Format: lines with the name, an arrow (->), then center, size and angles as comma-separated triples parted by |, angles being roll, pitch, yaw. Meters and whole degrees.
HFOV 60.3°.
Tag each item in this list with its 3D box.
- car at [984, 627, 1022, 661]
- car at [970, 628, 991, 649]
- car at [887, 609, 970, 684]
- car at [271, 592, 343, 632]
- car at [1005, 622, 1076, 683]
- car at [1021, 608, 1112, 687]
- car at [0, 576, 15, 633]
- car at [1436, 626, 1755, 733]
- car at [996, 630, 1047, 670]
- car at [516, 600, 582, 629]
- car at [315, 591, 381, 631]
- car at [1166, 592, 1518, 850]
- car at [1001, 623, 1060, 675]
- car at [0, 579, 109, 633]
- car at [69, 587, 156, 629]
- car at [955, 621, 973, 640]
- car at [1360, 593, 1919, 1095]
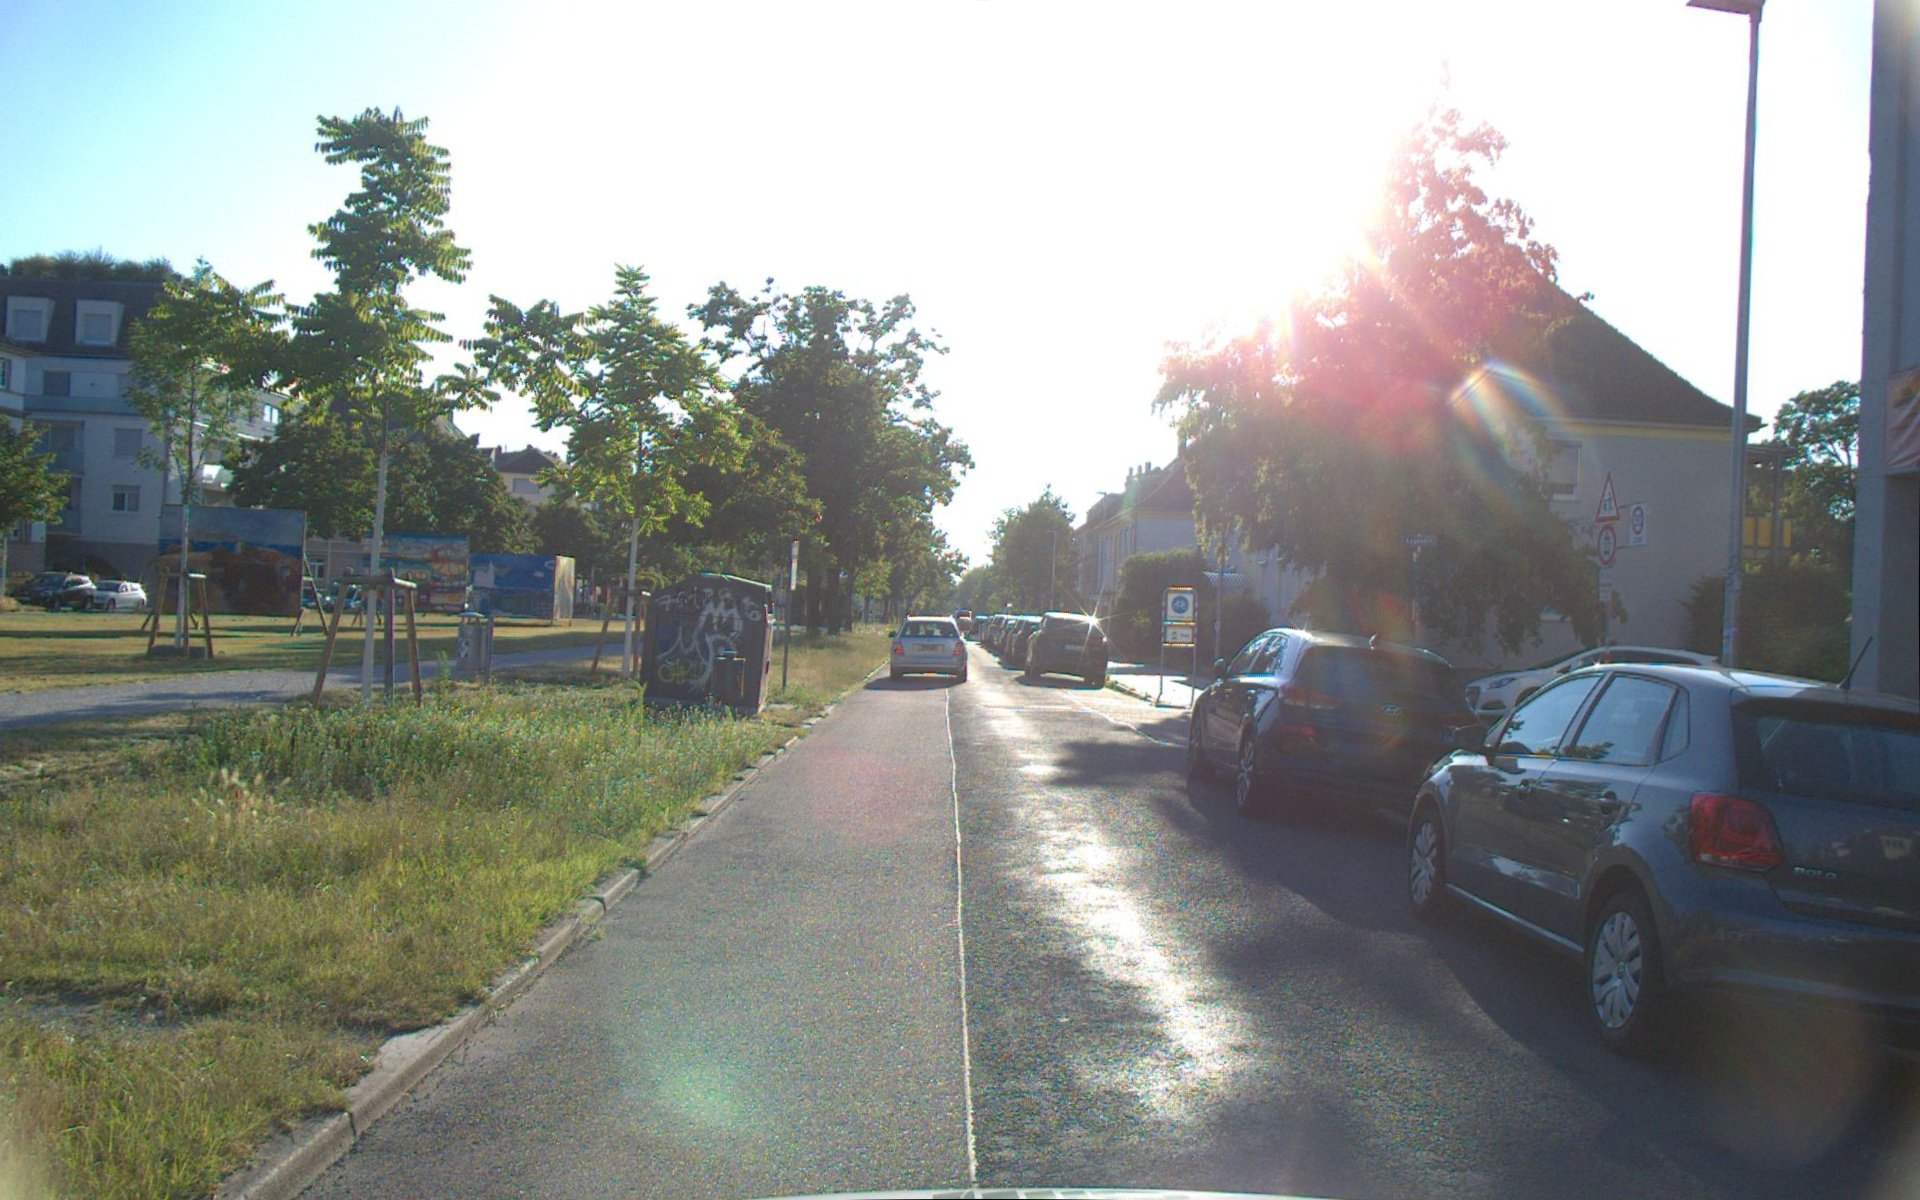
car -> 2.207, 2.304, 86.752 | 1.741, 1.672, 4.755 | 2, -2, -1
car -> 1.696, 3.299, 140.823 | 1.686, 1.625, 3.999 | 2, -2, 0
car -> -0.683, 1.049, 38.024 | 1.786, 1.594, 3.999 | 1, -1, 0
car -> -33.864, 0.653, 85.892 | 1.889, 1.860, 4.690 | -1, -2, 0
car -> 2.598, 1.683, 54.432 | 1.894, 1.750, 4.620 | 5, -1, -1
car -> 2.679, 1.226, 42.652 | 1.796, 1.762, 5.030 | 5, -2, -1
car -> -33.786, 0.117, 55.166 | 1.796, 1.933, 4.642 | -1, -2, 0
car -> 10.940, 1.416, 28.679 | 4.749, 1.512, 2.001 | 3, -5, -1
car -> 2.586, 2.093, 70.304 | 1.953, 1.488, 4.561 | 4, -1, 1
car -> -42.626, 1.520, 171.598 | 6.231, 2.768, 1.982 | 3, -2, -31
car -> -34.114, 0.626, 92.318 | 1.979, 2.036, 5.366 | -1, -2, -4
car -> 3.038, 0.906, 14.209 | 1.787, 1.587, 4.621 | 9, -1, 0
car -> 2.512, 1.752, 59.955 | 1.816, 1.686, 4.819 | 4, -1, 0
car -> -39.818, 0.312, 72.755 | 2.192, 2.168, 4.853 | -1, -2, 0
car -> -39.772, 0.404, 77.718 | 1.784, 1.775, 4.459 | -1, -2, 0
car -> 0.478, 3.683, 199.026 | 1.948, 2.059, 3.999 | 3, -1, 0
car -> 3.226, 0.859, 7.503 | 1.654, 1.554, 4.174 | 6, 0, 0
